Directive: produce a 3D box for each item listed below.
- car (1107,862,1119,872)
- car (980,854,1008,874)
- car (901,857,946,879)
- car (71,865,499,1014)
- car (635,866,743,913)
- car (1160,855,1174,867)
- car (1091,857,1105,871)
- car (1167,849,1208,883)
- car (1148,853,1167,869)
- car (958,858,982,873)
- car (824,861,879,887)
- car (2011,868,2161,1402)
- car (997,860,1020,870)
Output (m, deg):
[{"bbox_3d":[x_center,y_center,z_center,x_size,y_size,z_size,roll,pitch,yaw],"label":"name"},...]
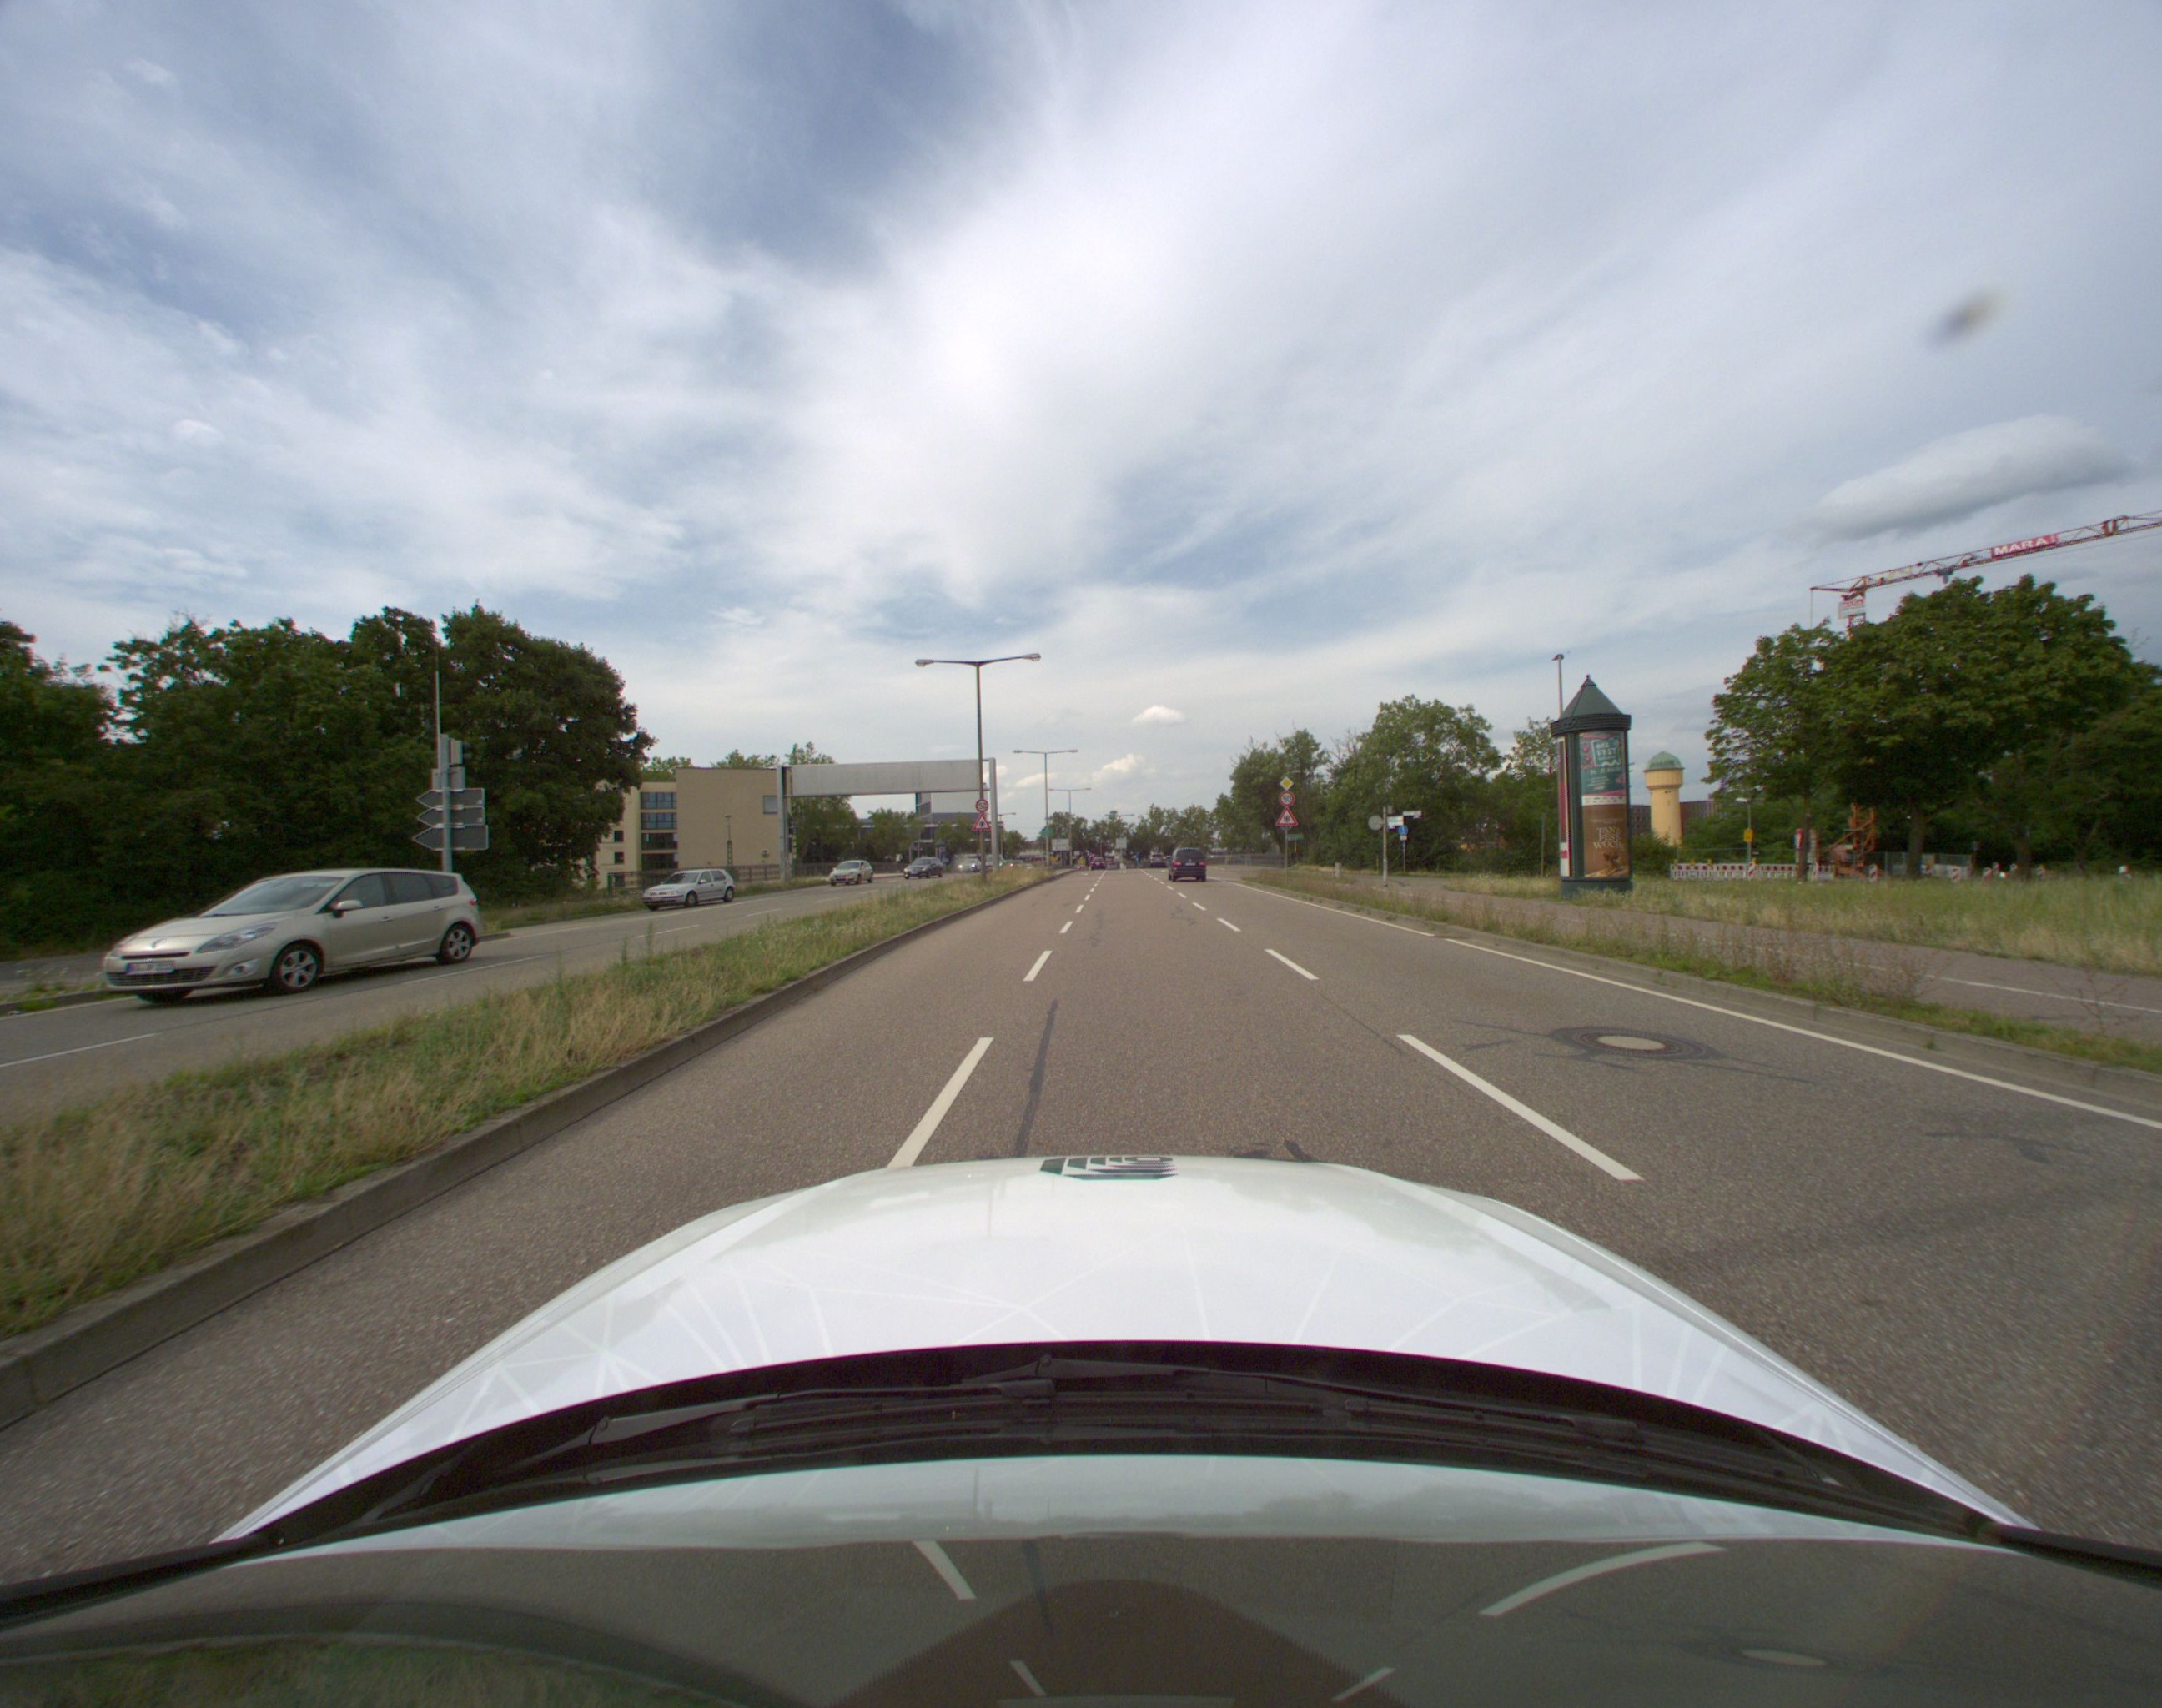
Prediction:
[{"bbox_3d":[5.429,2.236,138.232,1.727,1.526,4.109,-1,0,-4],"label":"car"},{"bbox_3d":[-6.761,0.785,63.432,1.689,1.486,3.861,-1,0,1],"label":"car"},{"bbox_3d":[-11.074,0.953,57.640,1.657,1.425,4.528,-4,-1,7],"label":"car"},{"bbox_3d":[-11.035,1.038,11.912,1.740,1.598,4.563,-3,0,-1],"label":"car"},{"bbox_3d":[-15.249,1.335,31.958,1.656,1.418,4.104,-3,2,10],"label":"car"},{"bbox_3d":[11.221,0.854,106.041,1.501,1.447,3.141,-1,1,1],"label":"car"},{"bbox_3d":[2.150,1.279,103.078,1.724,1.653,4.116,-1,0,1],"label":"car"},{"bbox_3d":[5.559,0.595,42.952,1.724,1.653,4.116,-1,0,1],"label":"car"},{"bbox_3d":[8.213,0.761,87.691,1.724,1.653,4.116,-1,0,1],"label":"car"},{"bbox_3d":[-11.993,1.263,88.018,1.786,1.525,4.190,-4,-1,2],"label":"car"},{"bbox_3d":[-13.917,1.184,49.643,1.657,1.419,4.320,-4,-1,6],"label":"car"},{"bbox_3d":[3.664,0.740,0.423,1.724,1.395,4.116,-1,0,1],"label":"car"},{"bbox_3d":[-7.964,1.190,89.590,1.986,1.068,4.002,0,1,2],"label":"car"}]
